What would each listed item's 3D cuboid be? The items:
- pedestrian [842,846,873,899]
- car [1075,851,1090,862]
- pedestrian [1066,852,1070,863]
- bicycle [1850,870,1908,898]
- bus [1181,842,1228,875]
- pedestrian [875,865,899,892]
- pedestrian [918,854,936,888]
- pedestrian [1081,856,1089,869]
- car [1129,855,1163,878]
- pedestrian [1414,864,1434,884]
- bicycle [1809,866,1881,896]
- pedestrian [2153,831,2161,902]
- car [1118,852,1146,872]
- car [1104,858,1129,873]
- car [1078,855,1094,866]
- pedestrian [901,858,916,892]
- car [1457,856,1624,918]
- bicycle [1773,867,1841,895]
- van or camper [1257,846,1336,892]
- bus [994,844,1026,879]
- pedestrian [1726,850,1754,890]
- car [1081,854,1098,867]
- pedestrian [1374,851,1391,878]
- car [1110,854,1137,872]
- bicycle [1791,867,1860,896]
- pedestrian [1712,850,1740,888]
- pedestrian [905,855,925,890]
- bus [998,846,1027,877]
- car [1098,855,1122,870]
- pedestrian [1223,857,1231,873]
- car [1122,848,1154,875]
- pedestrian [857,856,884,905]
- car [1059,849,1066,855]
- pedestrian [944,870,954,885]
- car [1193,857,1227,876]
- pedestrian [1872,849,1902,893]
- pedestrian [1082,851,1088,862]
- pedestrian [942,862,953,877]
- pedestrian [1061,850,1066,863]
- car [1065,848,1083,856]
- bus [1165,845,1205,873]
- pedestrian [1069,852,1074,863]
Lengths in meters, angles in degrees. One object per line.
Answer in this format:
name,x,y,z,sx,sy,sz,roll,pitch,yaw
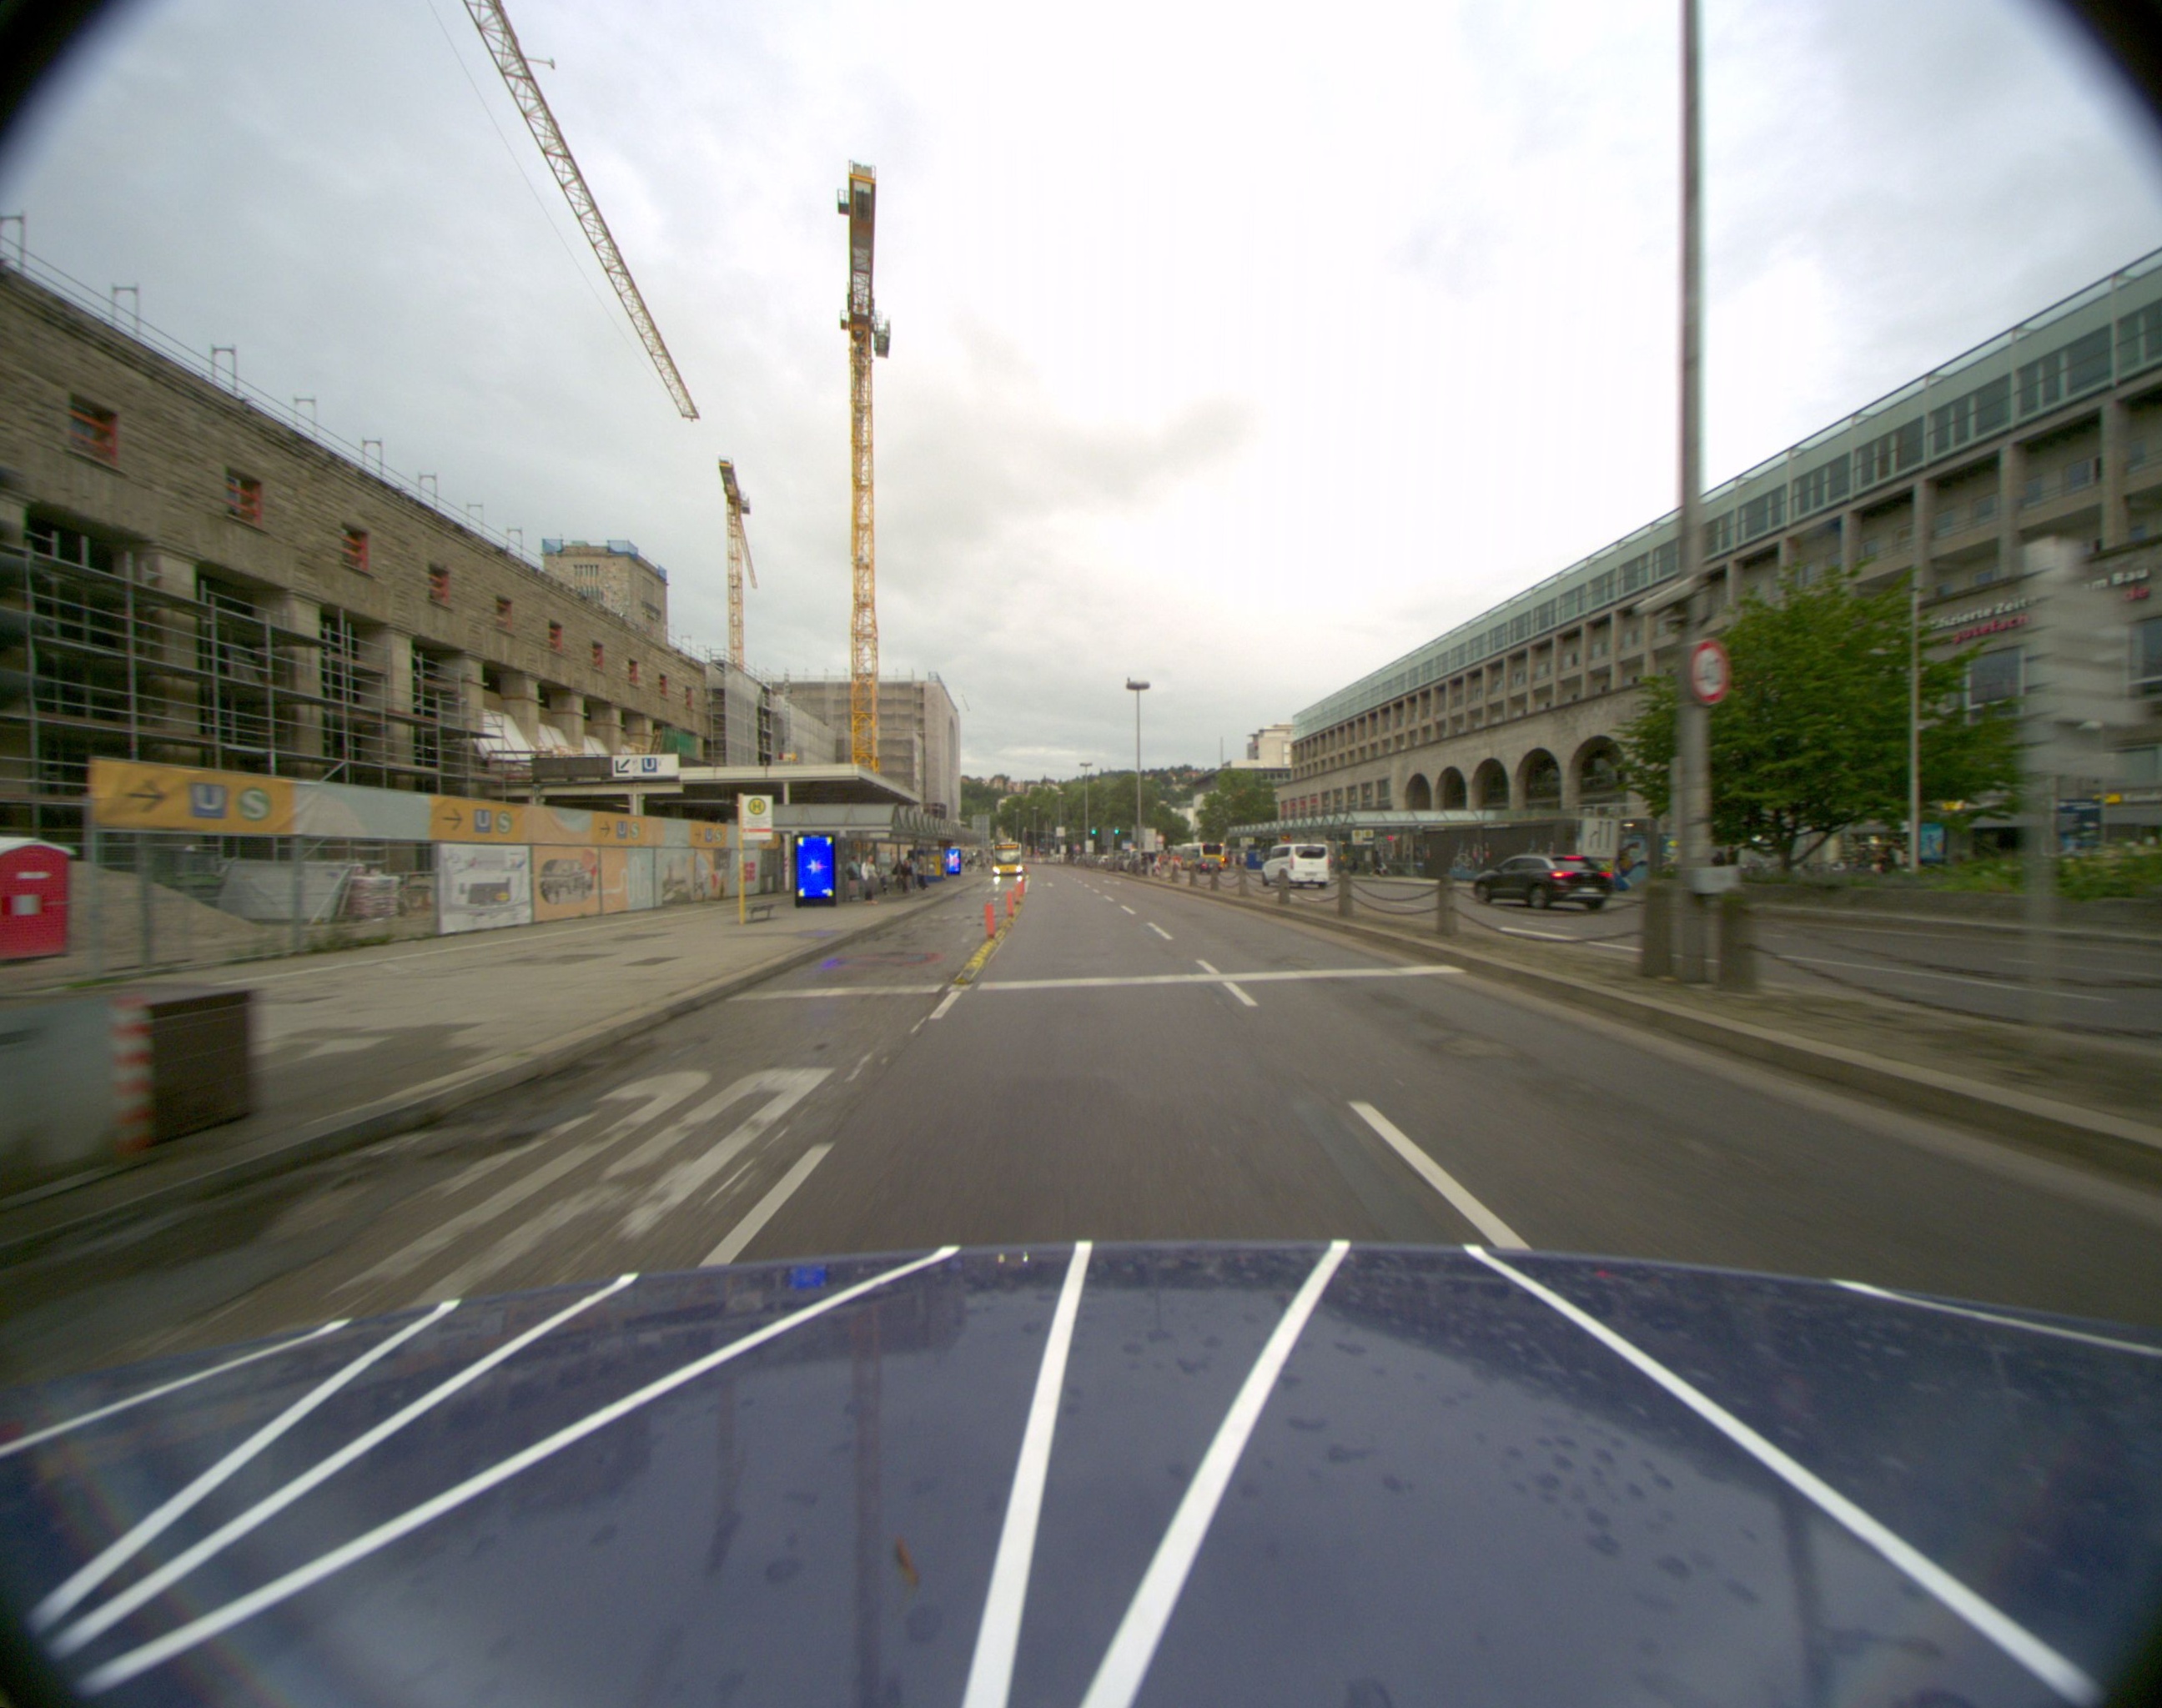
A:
pedestrian,-8.825,0.717,30.001,0.806,2.038,0.924,-2,0,-43
car,0.204,0.398,121.218,2.021,1.611,4.840,0,-1,-5
pedestrian,-2.092,0.565,123.318,0.653,1.701,0.593,-2,0,-6
bicycle,32.719,1.229,31.161,1.910,1.154,0.503,0,0,-1
bus,13.739,0.514,85.500,2.886,3.439,10.570,-1,0,-4
pedestrian,-9.292,1.173,36.365,0.916,1.223,0.840,-2,0,-3
pedestrian,-7.660,0.848,37.707,0.764,1.683,0.822,0,0,-4
pedestrian,0.532,1.132,99.320,1.053,1.758,0.616,-1,1,-5
car,4.979,0.948,58.776,1.999,1.712,4.781,0,0,-3
pedestrian,21.107,1.231,46.794,0.581,1.175,1.260,-2,0,-3
bicycle,32.639,1.145,32.491,2.372,1.285,0.663,0,0,2
pedestrian,30.463,0.347,20.921,0.769,2.002,1.085,0,0,35
car,4.650,0.716,70.021,1.935,1.795,4.580,1,0,-4
car,3.759,1.206,81.476,1.935,1.567,5.049,1,0,-5
car,0.733,0.951,114.470,1.935,1.680,4.680,1,0,-5
pedestrian,-7.979,0.956,35.167,0.522,1.556,0.728,0,0,-4
car,13.110,0.866,22.095,1.999,1.607,4.575,0,0,-1
bicycle,32.817,1.213,34.353,2.372,1.285,0.663,0,0,2
van or camper,10.068,0.663,35.922,1.999,2.002,5.187,-1,0,-3
bus,-6.659,0.692,72.454,2.763,3.048,8.989,-2,0,-4
pedestrian,30.498,0.722,35.172,0.667,1.842,0.728,0,0,-4
car,1.219,0.911,109.395,1.935,1.680,4.680,1,0,-5
pedestrian,20.815,0.742,52.499,0.721,1.845,0.930,-2,0,-4
car,4.194,0.863,75.414,1.935,1.689,4.883,1,0,-5
bicycle,32.788,1.208,33.482,2.372,1.285,0.663,0,0,2
pedestrian,29.812,0.680,35.111,0.667,1.742,0.728,0,0,-4
pedestrian,-7.950,0.880,36.427,0.810,1.650,0.804,-2,0,-4
bus,-7.284,0.718,81.487,2.763,3.051,9.076,-2,0,-4
car,3.279,0.915,87.097,1.982,1.649,5.190,1,0,-5
pedestrian,15.756,1.184,81.910,0.625,1.715,0.855,-2,0,-4
car,4.796,0.650,64.854,1.999,2.166,5.542,0,0,-3
pedestrian,-7.209,0.899,26.027,0.705,1.669,0.721,0,0,-30
car,-5.232,-0.475,215.835,1.683,1.533,3.173,0,-2,-5
pedestrian,-10.519,1.908,60.556,0.666,1.179,0.666,0,0,-4
car,10.989,1.036,64.862,1.999,1.607,4.977,0,0,-1
pedestrian,33.971,0.708,32.023,0.681,1.844,0.605,0,0,-10
pedestrian,0.688,0.425,125.060,0.785,1.765,0.605,2,0,-16
pedestrian,-9.568,1.132,54.494,0.729,1.059,0.808,0,0,-4
pedestrian,-2.755,0.333,119.849,0.725,1.996,0.772,-2,0,-5
car,-2.022,-0.642,210.555,4.832,2.001,2.035,-2,-1,-3
bus,13.006,0.612,96.061,2.886,3.356,10.570,0,0,-4
pedestrian,-1.556,0.584,118.911,0.700,1.744,0.711,-1,0,-5
